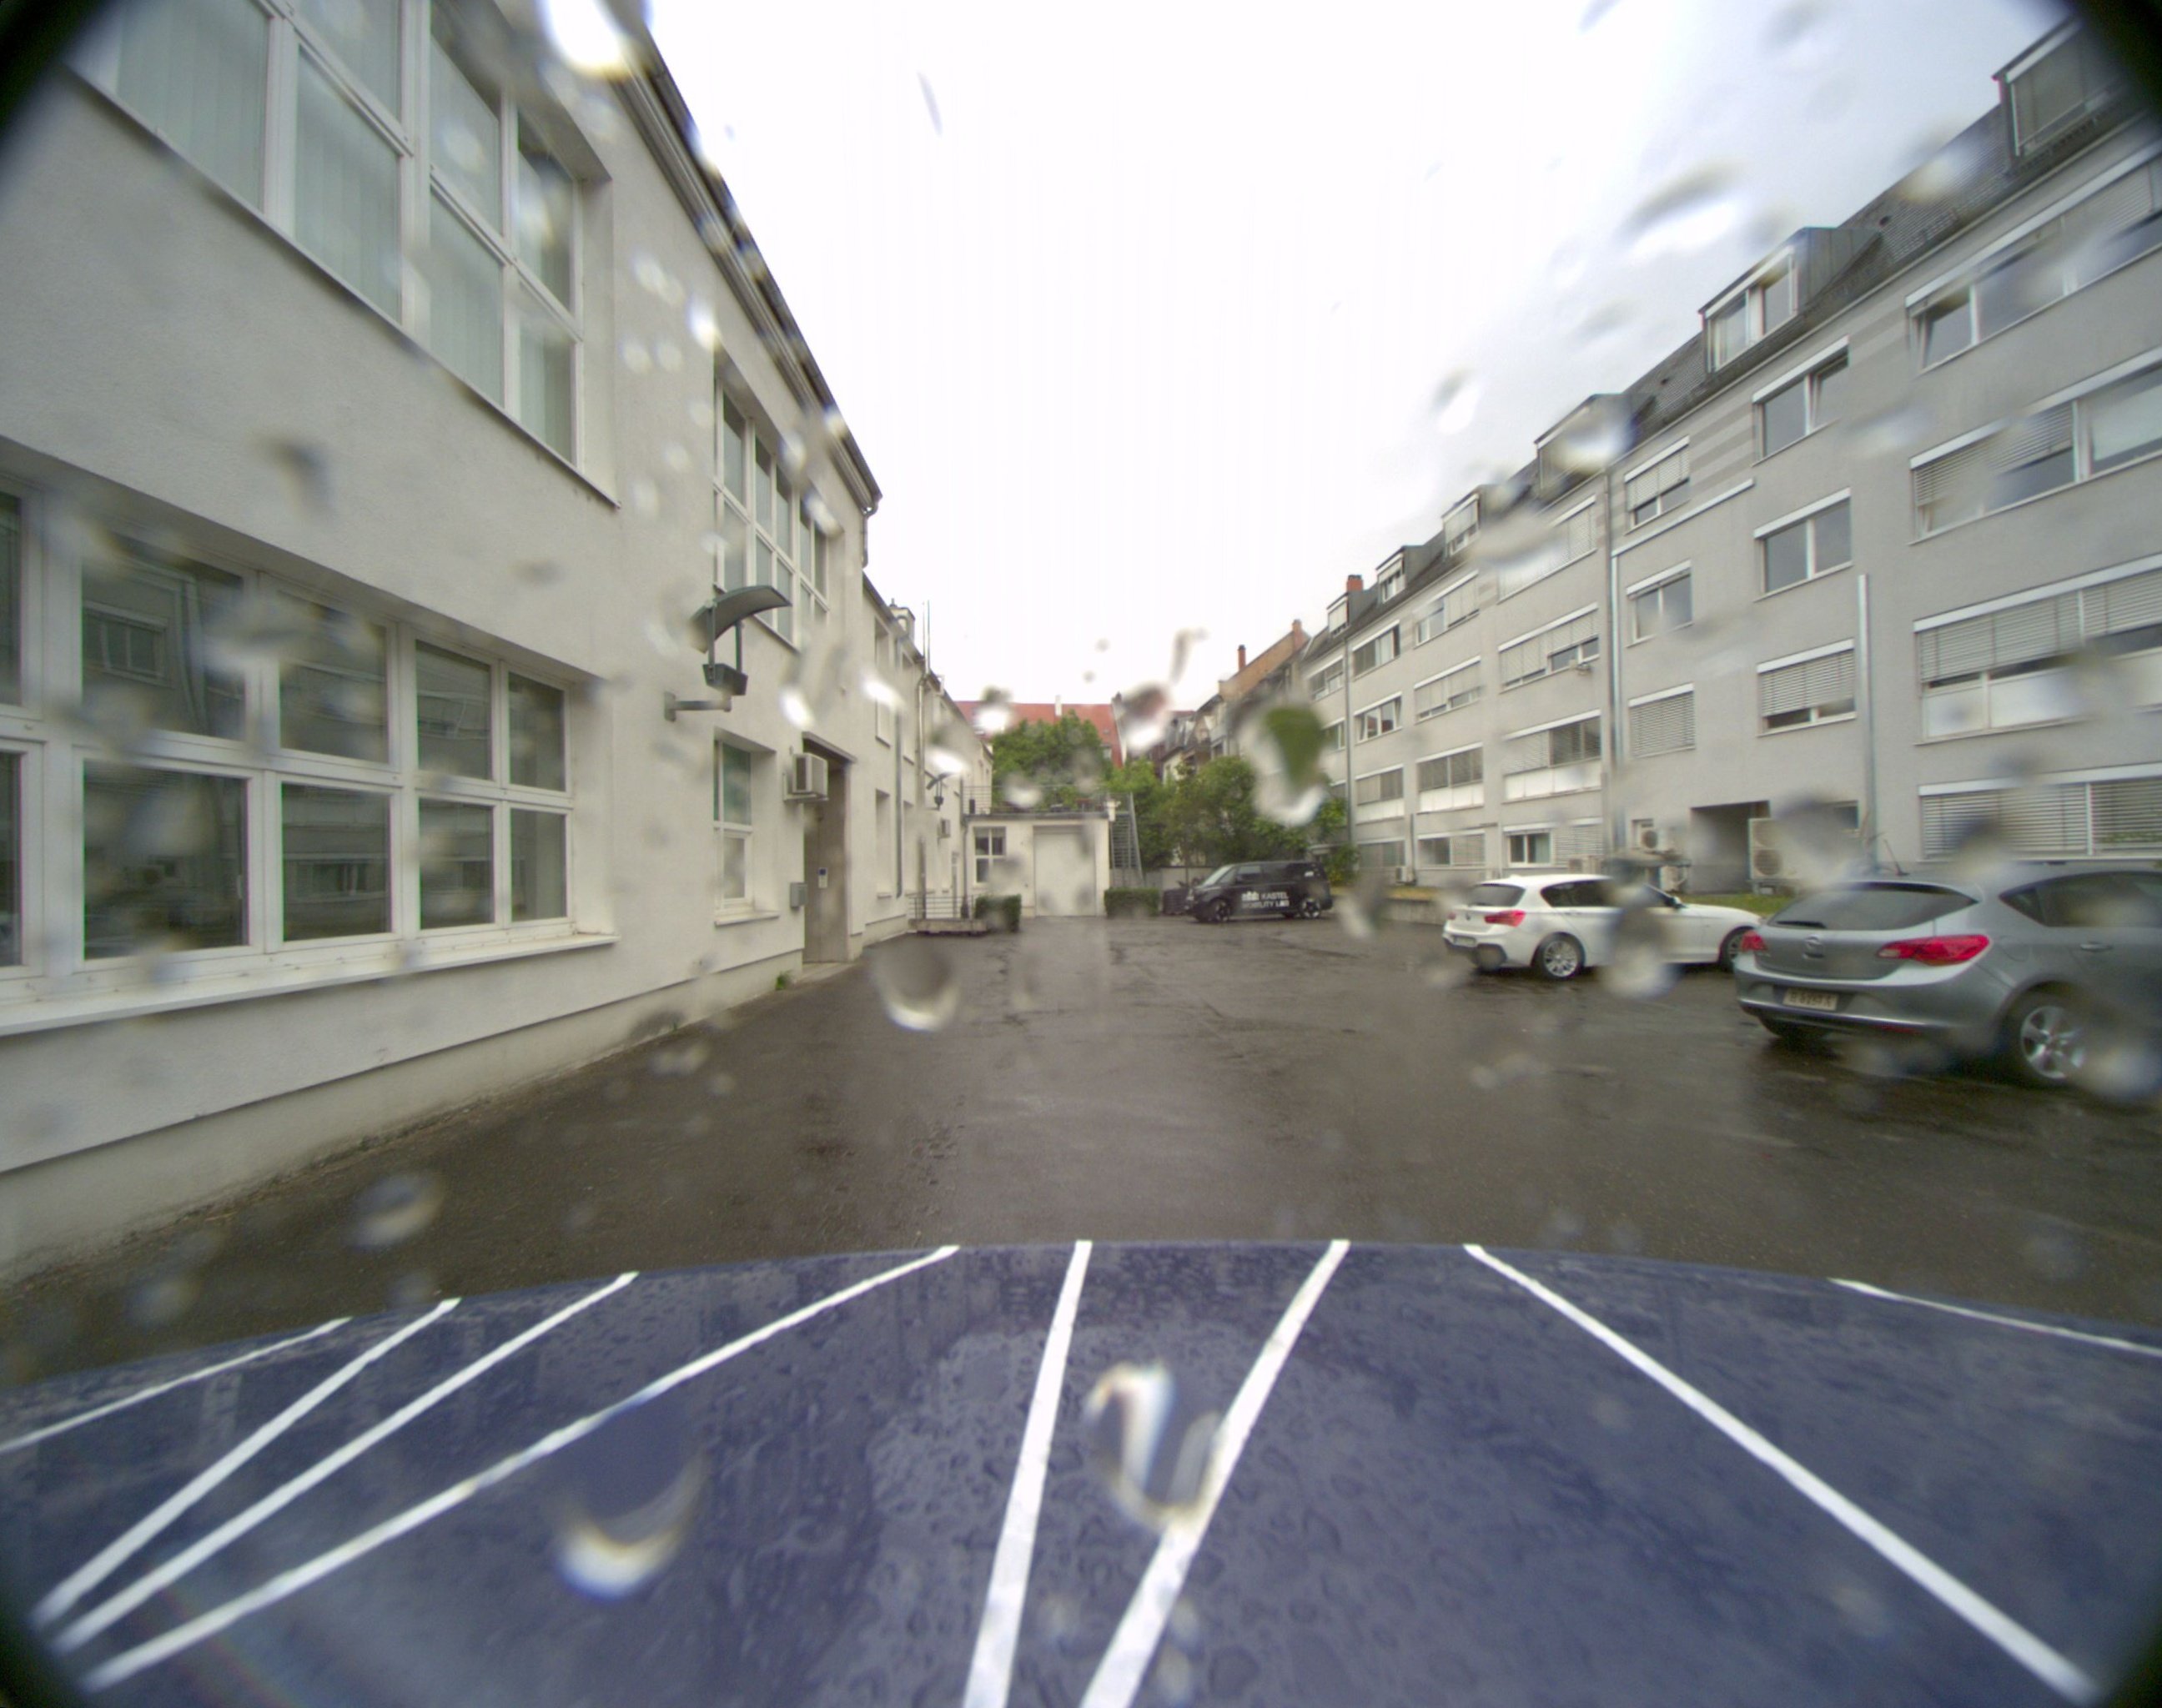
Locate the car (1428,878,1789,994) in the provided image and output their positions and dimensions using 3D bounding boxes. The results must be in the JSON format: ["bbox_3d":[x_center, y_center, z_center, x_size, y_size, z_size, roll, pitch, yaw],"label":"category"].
[{"bbox_3d":[7.507,1.113,11.050,4.151,1.425,1.752,-1,-1,-5],"label":"car"}]

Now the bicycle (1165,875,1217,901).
[{"bbox_3d":[5.188,1.604,35.885,2.319,1.179,0.643,-1,2,0],"label":"bicycle"}]

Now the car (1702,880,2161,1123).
[{"bbox_3d":[7.647,0.980,5.962,4.178,1.474,1.822,-1,-2,-5],"label":"car"}]

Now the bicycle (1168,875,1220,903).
[{"bbox_3d":[5.242,1.615,35.254,2.319,1.179,0.643,-1,2,0],"label":"bicycle"}]

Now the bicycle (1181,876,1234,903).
[{"bbox_3d":[5.762,1.614,34.753,2.319,1.179,0.643,-1,2,0],"label":"bicycle"}]

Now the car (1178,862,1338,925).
[{"bbox_3d":[5.707,1.262,24.789,4.631,1.825,1.988,-1,-2,-8],"label":"car"}]

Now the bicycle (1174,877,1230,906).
[{"bbox_3d":[5.301,1.651,33.288,2.319,1.179,0.643,-1,2,0],"label":"bicycle"}]

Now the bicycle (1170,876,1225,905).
[{"bbox_3d":[5.215,1.637,34.085,2.319,1.179,0.643,-1,2,0],"label":"bicycle"}]
